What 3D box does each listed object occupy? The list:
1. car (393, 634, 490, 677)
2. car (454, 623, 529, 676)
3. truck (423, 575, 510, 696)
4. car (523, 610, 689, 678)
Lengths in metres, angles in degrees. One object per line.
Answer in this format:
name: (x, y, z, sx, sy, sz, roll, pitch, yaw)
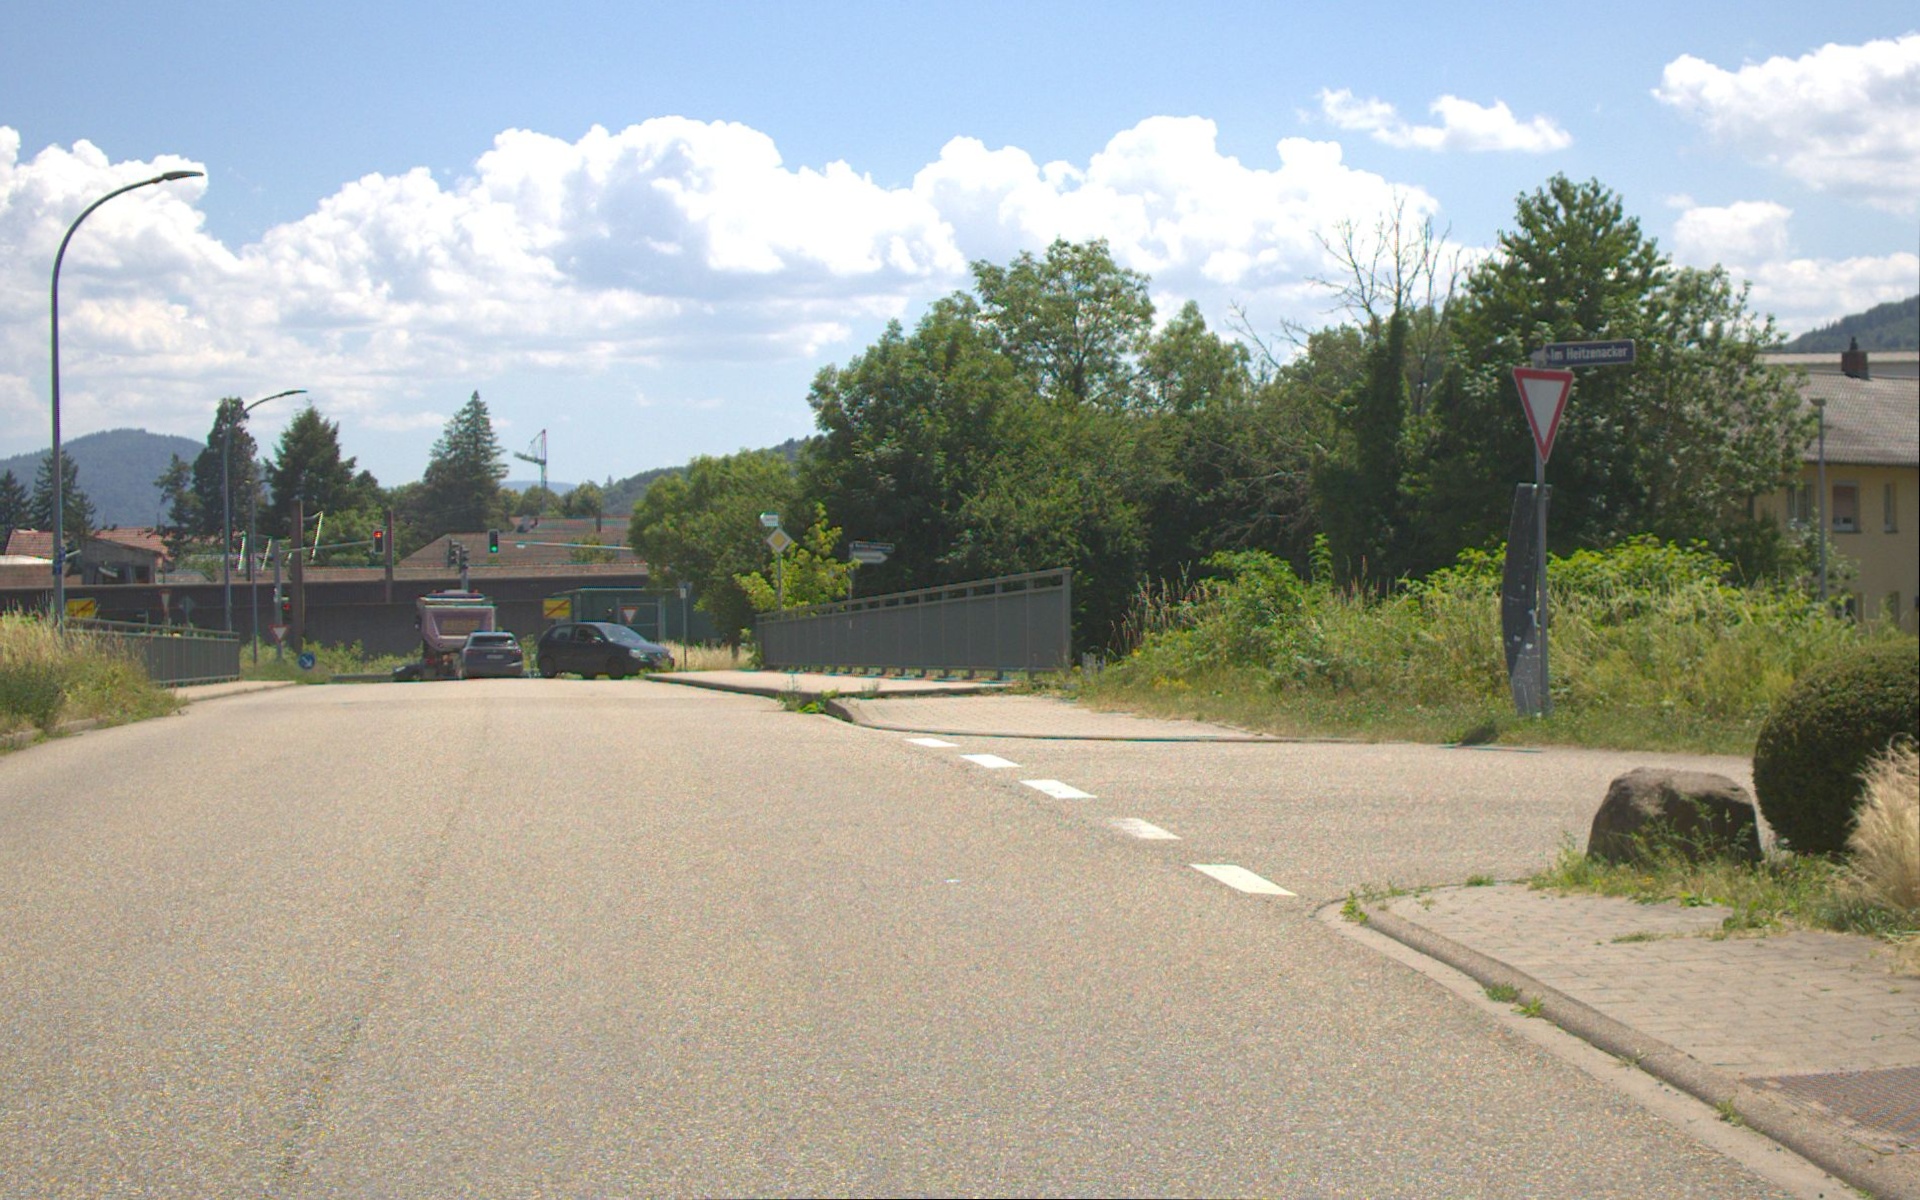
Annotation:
car: (-22.351, 2.394, 148.267, 3.986, 1.696, 1.909, -1, 1, -12)
car: (-13.909, 1.471, 101.956, 1.993, 1.498, 4.001, 1, -1, -10)
truck: (-18.125, 1.414, 125.891, 2.995, 4.166, 11.809, 0, -2, -9)
car: (-8.904, 1.098, 86.420, 3.765, 1.629, 1.884, 0, 1, 32)
